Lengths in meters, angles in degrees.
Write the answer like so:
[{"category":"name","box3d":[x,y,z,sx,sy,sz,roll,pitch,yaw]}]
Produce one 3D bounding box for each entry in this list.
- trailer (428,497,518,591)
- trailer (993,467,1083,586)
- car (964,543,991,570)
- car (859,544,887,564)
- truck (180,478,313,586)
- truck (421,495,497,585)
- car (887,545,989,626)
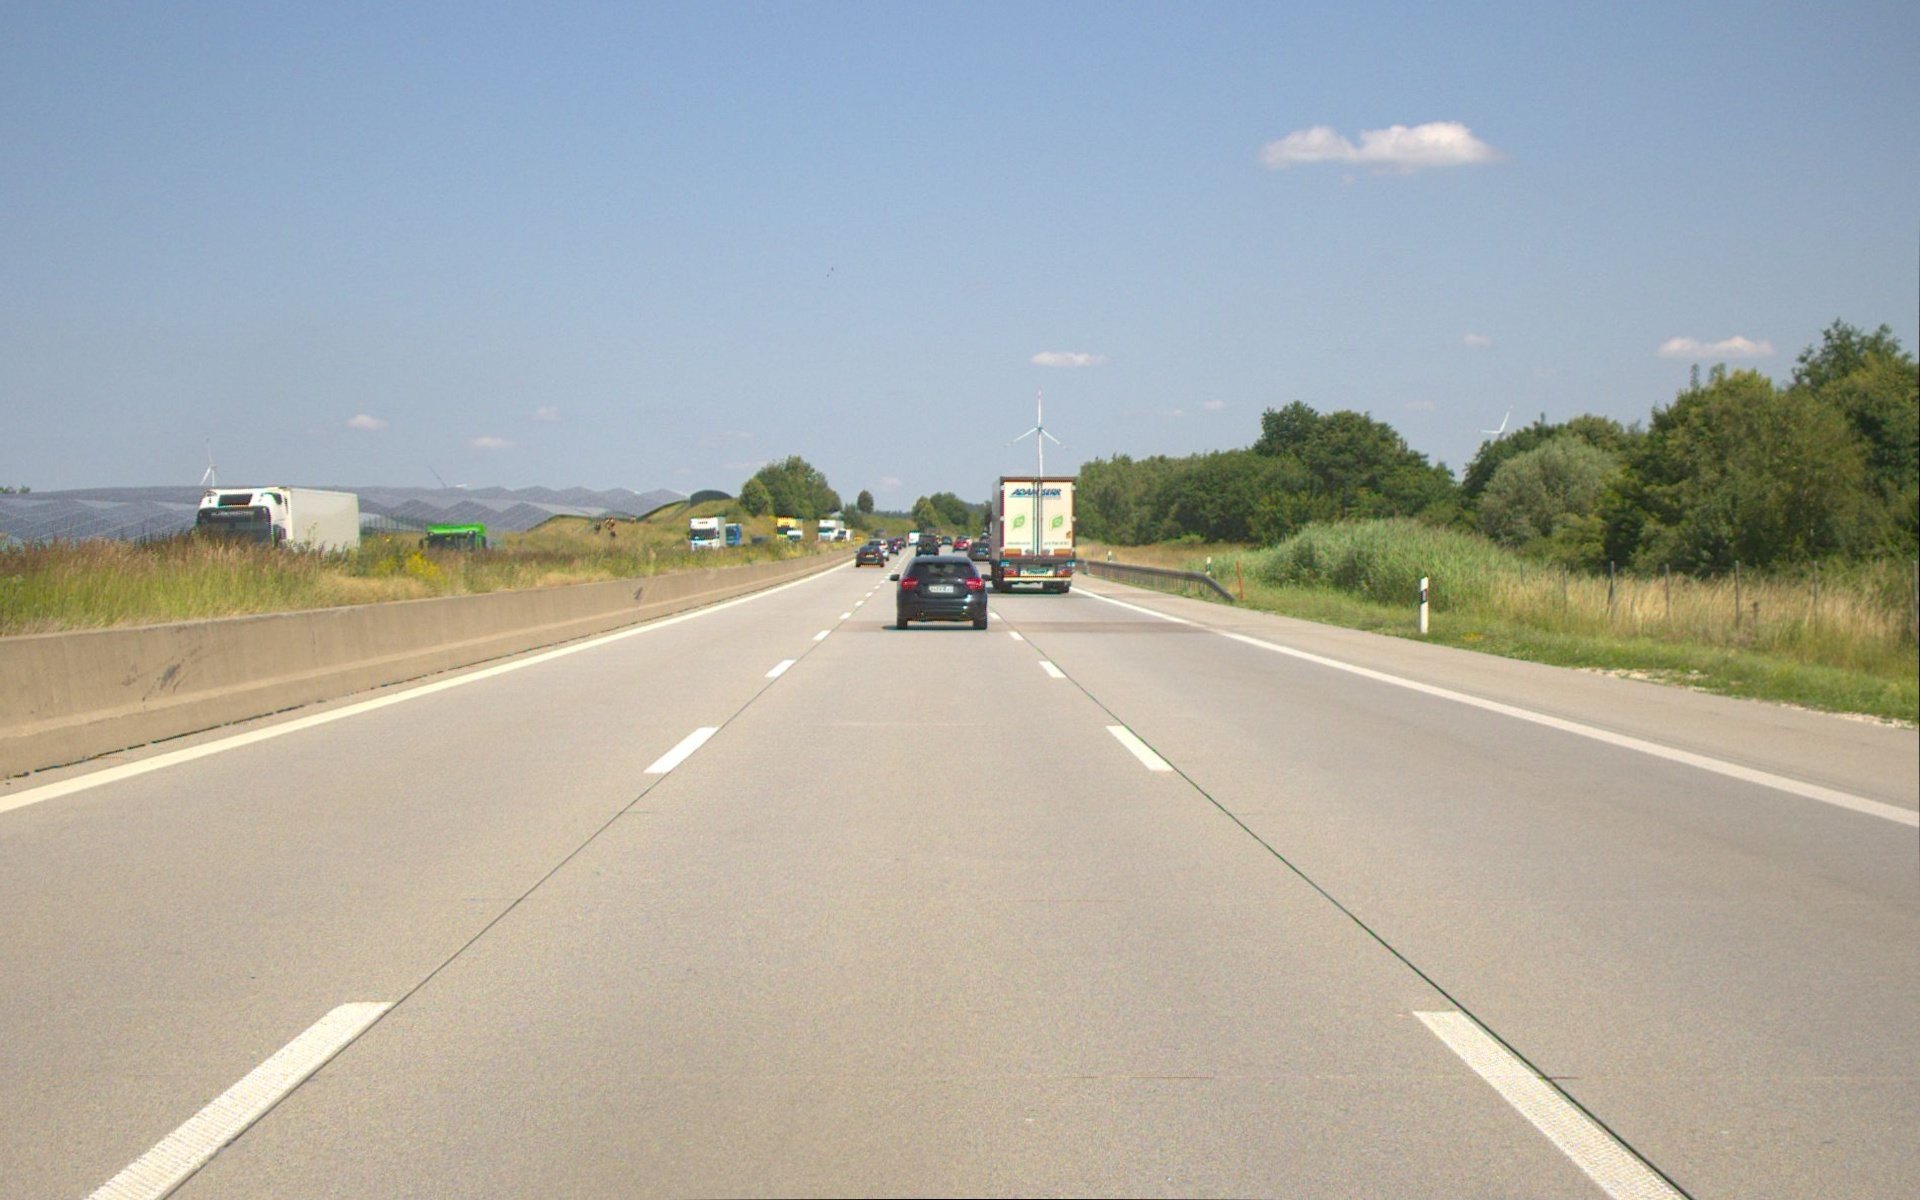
[{"category":"trailer","box3d":[-22.427,-2.582,158.670,2.732,4.177,10.257,0,1,0]},{"category":"trailer","box3d":[2.723,-2.615,123.735,2.852,4.029,12.714,1,1,0]},{"category":"car","box3d":[1.253,-3.108,244.709,1.827,1.900,4.000,1,1,2]},{"category":"car","box3d":[-5.649,-3.015,222.981,1.655,1.192,3.960,3,1,0]},{"category":"truck","box3d":[-21.664,-2.045,104.644,2.832,3.146,5.827,-1,0,0]},{"category":"truck","box3d":[-22.441,-2.677,154.125,2.745,3.937,4.353,1,1,0]},{"category":"car","box3d":[-0.458,-0.306,67.971,1.910,1.487,4.192,1,1,-1]}]
